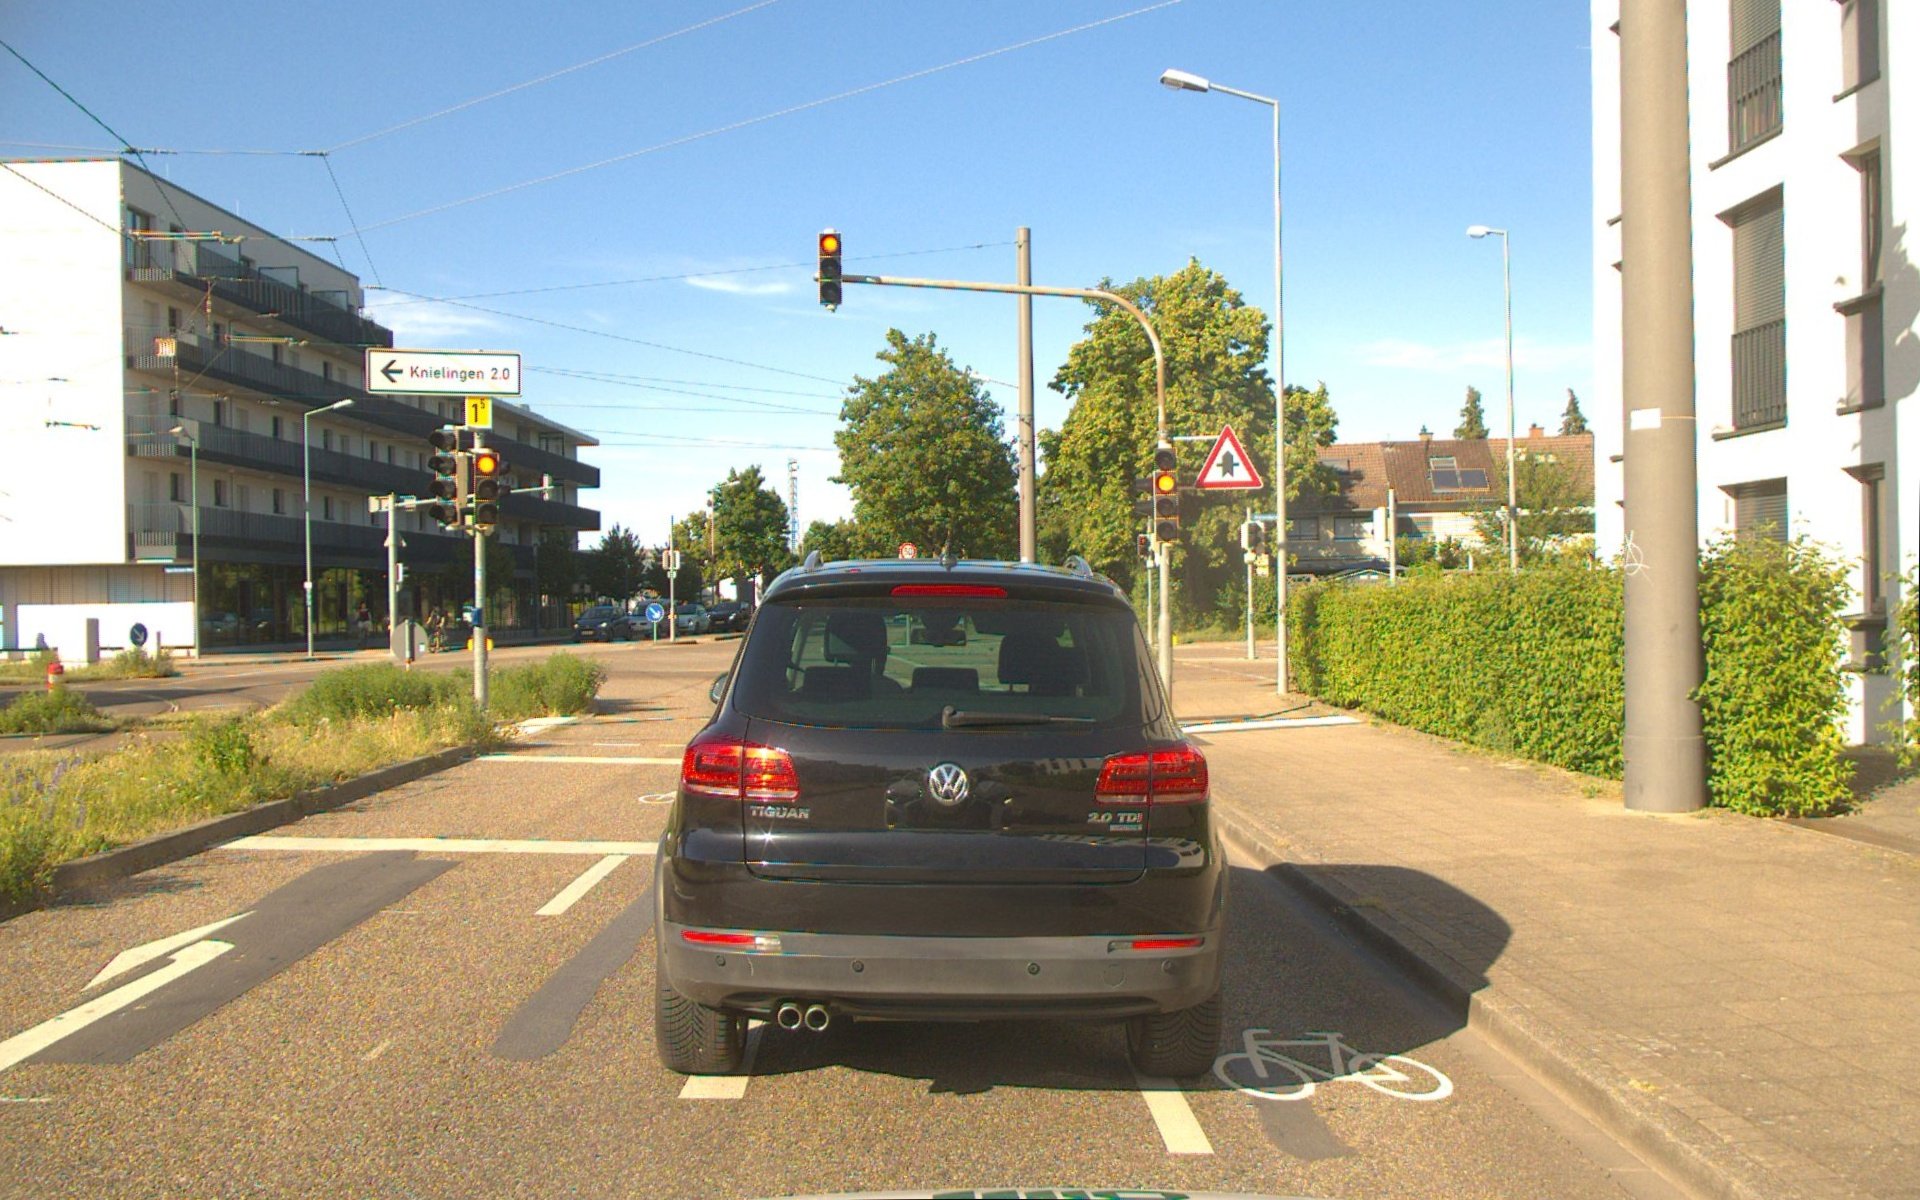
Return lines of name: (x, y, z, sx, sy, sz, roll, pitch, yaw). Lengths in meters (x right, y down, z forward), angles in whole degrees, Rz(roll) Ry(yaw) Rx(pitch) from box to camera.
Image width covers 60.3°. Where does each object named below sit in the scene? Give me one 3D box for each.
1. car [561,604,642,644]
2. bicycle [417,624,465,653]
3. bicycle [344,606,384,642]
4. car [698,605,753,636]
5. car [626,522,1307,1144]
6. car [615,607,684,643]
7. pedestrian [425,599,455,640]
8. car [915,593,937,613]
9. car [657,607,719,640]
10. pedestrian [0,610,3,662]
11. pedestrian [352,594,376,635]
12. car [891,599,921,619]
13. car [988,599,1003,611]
car: (-15.383, 1.013, 71.202, 1.951, 1.601, 4.343, 1, 0, 9)
bicycle: (-19.065, 1.395, 60.769, 0.755, 1.006, 2.434, 1, 0, 6)
bicycle: (-22.565, 0.897, 62.637, 0.617, 1.355, 1.914, 1, 0, 7)
car: (-12.830, 1.114, 90.687, 1.951, 1.601, 4.342, 1, 0, 7)
car: (-0.006, 0.645, 6.505, 1.831, 1.666, 3.999, 1, 0, -1)
car: (-14.605, 1.172, 77.981, 1.951, 1.601, 4.342, 1, 0, 7)
pedestrian: (-19.076, 0.718, 60.643, 0.696, 1.499, 0.954, 1, 0, 6)
car: (-3.135, 0.266, 152.013, 1.825, 1.750, 3.687, -1, 0, 1)
car: (-13.814, 1.181, 84.116, 1.951, 1.601, 4.342, 1, 0, 7)
pedestrian: (-32.829, 1.220, 55.982, 0.532, 1.774, 0.517, 1, -1, -6)
pedestrian: (-22.552, 0.534, 62.596, 0.629, 1.535, 0.596, 1, -1, 6)
car: (-4.276, 0.702, 131.369, 1.824, 1.511, 4.113, -1, 0, 7)
car: (5.248, 0.705, 245.301, 1.953, 1.713, 3.998, 1, 0, -2)
